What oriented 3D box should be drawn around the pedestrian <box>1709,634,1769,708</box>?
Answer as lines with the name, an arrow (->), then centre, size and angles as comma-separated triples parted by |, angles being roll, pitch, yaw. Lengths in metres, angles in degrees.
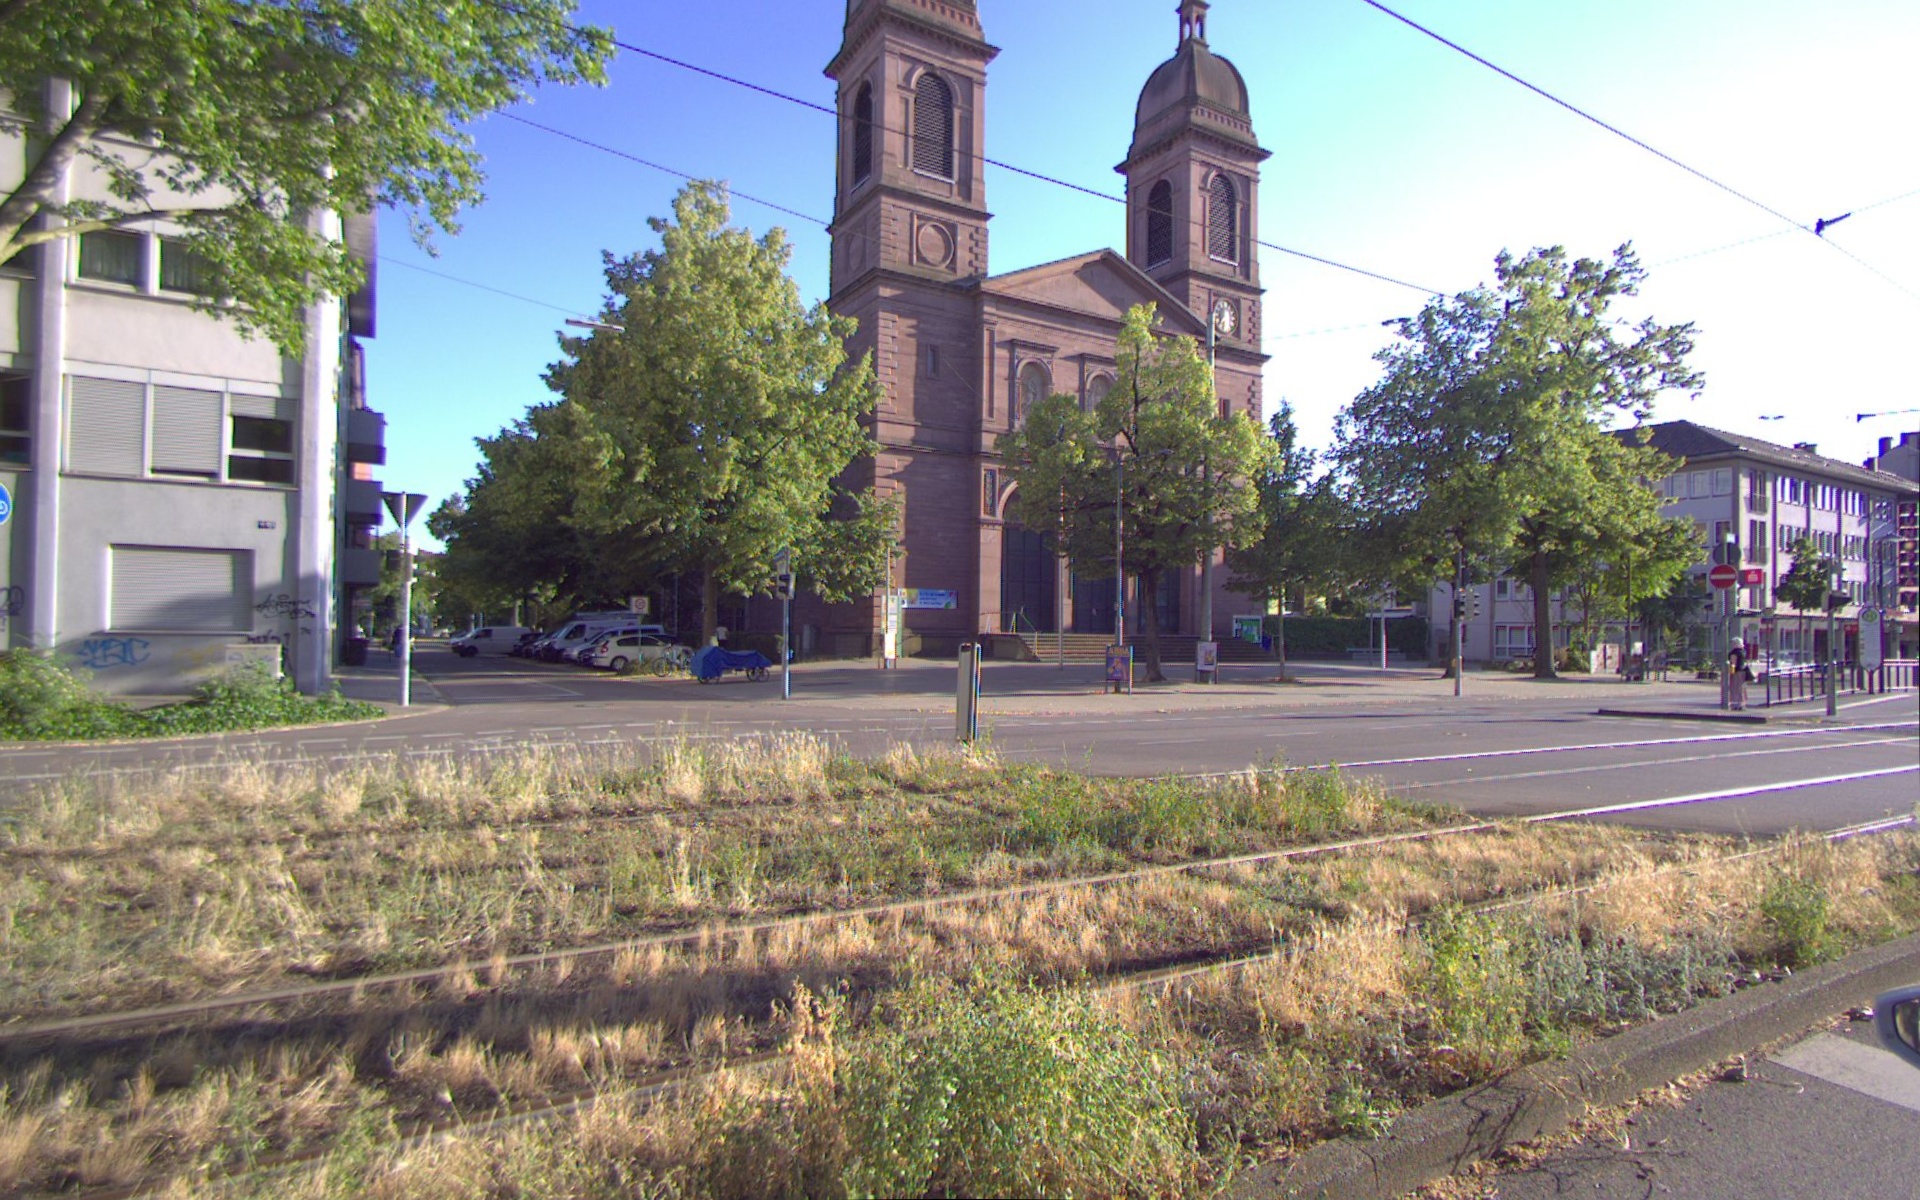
pedestrian -> 19.162, 1.737, 24.709 | 0.822, 1.783, 0.915 | 2, -2, -29

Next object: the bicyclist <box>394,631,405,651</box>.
bicyclist -> -37.069, 2.701, 66.415 | 0.625, 1.348, 0.962 | 2, -2, -30

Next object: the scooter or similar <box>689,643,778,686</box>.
scooter or similar -> -6.816, 1.924, 30.269 | 2.419, 1.141, 1.088 | -1, -1, -31

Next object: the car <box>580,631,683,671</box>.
car -> -14.226, 2.209, 43.533 | 3.953, 1.639, 1.876 | 2, -2, -30

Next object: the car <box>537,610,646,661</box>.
car -> -19.219, 1.859, 52.502 | 5.054, 2.551, 1.984 | 2, -2, -31

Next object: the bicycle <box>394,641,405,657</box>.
bicycle -> -36.932, 3.213, 66.152 | 0.625, 0.993, 1.974 | 2, -2, -29

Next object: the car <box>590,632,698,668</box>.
car -> -12.982, 2.027, 41.293 | 3.953, 1.416, 1.802 | 1, -2, -31

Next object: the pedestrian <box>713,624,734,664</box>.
pedestrian -> -10.509, 1.951, 44.620 | 0.684, 1.789, 0.733 | 2, -2, -31

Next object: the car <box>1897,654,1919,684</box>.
car -> 56.171, 3.953, 57.400 | 3.440, 1.702, 1.772 | 0, -2, 6

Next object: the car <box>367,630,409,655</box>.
car -> -48.145, 3.573, 84.508 | 1.985, 2.040, 5.360 | 2, -2, -41

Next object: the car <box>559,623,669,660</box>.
car -> -16.442, 1.989, 47.759 | 4.655, 1.684, 1.984 | 2, -2, -31

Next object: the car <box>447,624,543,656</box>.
car -> -30.499, 2.637, 66.008 | 5.384, 2.040, 1.976 | 2, -2, -42
